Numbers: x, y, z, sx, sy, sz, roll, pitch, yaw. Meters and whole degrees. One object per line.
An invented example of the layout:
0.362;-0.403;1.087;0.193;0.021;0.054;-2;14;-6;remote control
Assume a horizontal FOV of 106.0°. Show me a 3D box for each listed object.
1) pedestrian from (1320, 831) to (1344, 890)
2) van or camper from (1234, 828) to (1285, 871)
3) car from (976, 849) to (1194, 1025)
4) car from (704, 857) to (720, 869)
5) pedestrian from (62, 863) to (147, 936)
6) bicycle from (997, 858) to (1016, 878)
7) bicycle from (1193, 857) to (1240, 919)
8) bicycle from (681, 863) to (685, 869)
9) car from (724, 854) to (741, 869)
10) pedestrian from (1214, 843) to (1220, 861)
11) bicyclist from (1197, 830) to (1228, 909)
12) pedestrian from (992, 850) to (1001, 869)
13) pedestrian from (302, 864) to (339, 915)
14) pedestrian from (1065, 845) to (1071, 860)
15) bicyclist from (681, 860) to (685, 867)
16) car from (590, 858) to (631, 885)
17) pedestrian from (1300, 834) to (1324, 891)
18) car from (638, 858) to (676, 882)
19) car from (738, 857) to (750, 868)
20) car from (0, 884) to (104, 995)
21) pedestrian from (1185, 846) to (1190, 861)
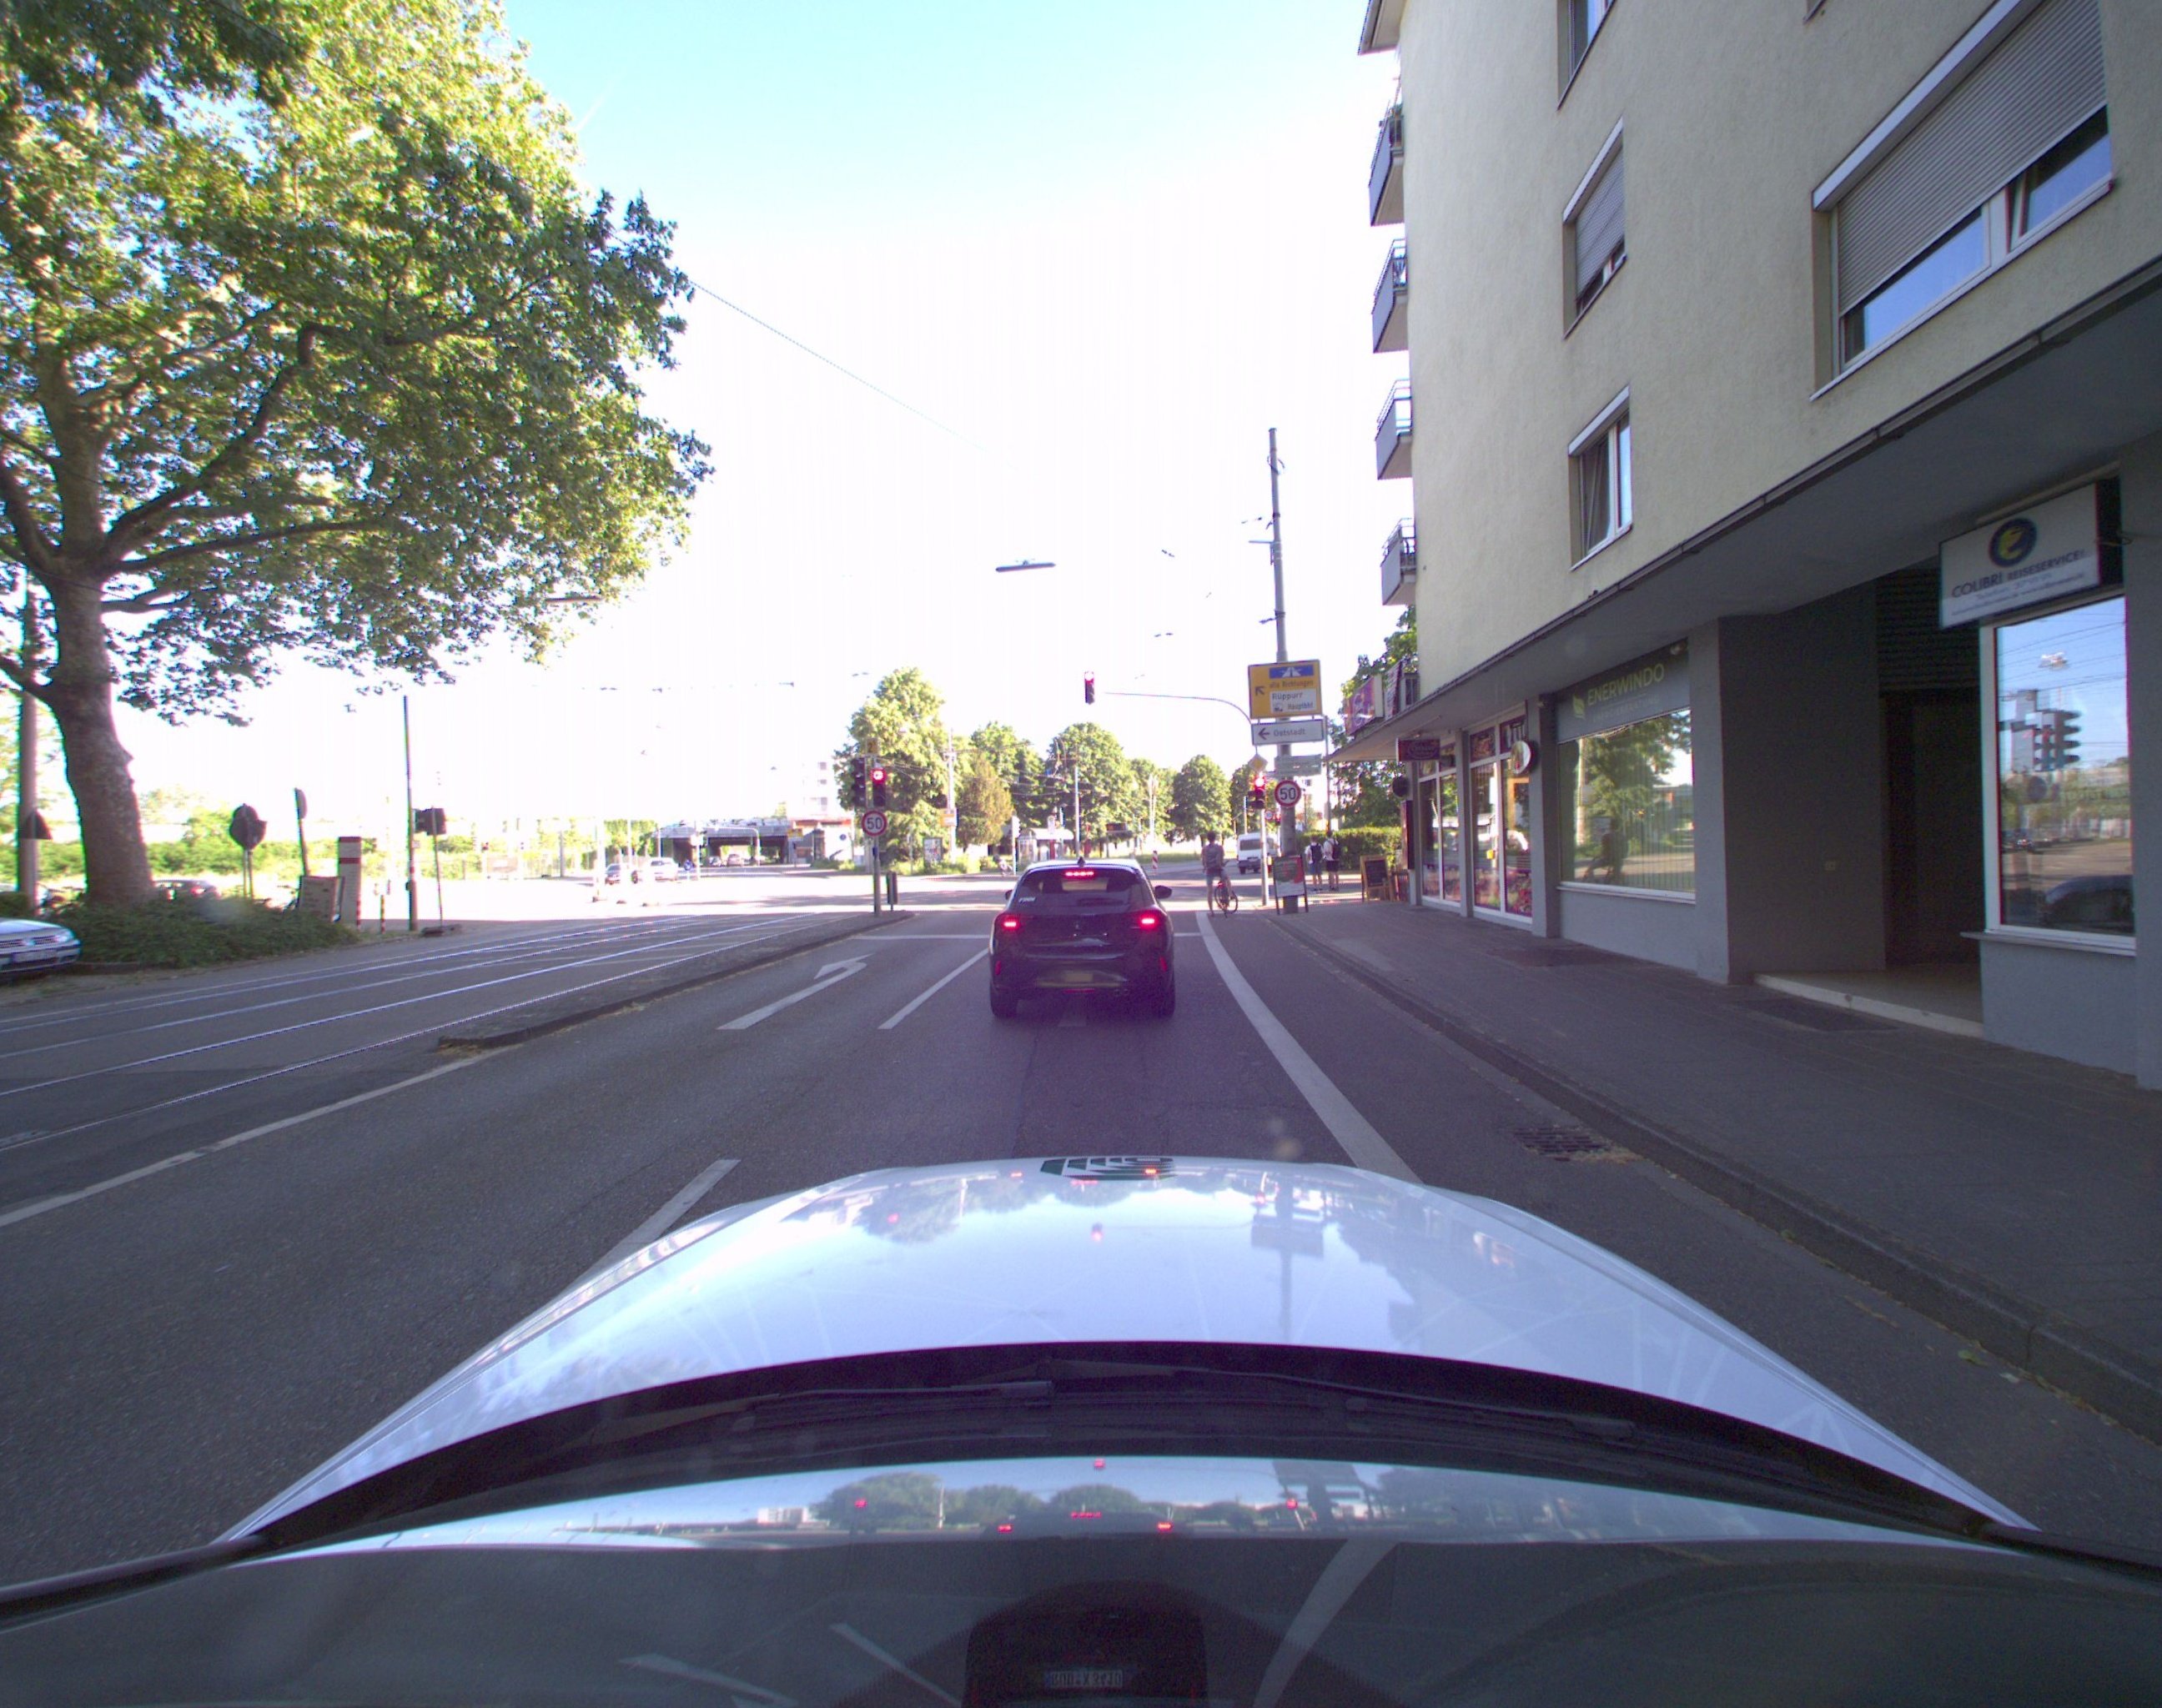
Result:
7.831;0.196;25.367;0.627;1.820;0.749;-1;-1;22;pedestrian
10.184;-0.225;46.188;2.011;2.310;4.565;-1;-1;23;van or camper
0.095;0.702;8.931;1.833;1.462;3.985;-1;0;2;car
-50.806;1.184;112.196;1.892;1.585;3.809;0;-1;-21;car
-22.956;1.049;19.167;0.842;1.647;0.931;0;-1;1;pedestrian
-4.259;0.763;46.473;0.793;1.064;2.186;-2;0;2;bicycle
3.014;0.715;17.909;0.747;1.235;2.024;-2;0;16;bicycle
-70.297;2.120;143.829;0.528;0.982;1.563;-1;0;-26;bicycle
-45.944;0.931;107.295;1.916;1.881;4.809;-2;0;-22;car
14.398;-0.203;86.184;0.599;1.872;0.521;-1;-1;12;pedestrian
2.892;0.334;17.830;0.529;1.692;0.571;-2;0;19;bicyclist
-6.522;0.440;62.843;0.568;1.472;0.666;-2;0;1;pedestrian
-25.421;1.154;27.238;0.778;1.661;0.944;0;-1;-37;pedestrian
-1.673;-0.213;106.876;0.736;1.872;0.661;0;-1;-4;pedestrian
-70.325;1.735;143.854;0.528;1.222;0.525;-1;0;-26;bicyclist
-31.571;1.162;54.773;1.805;1.662;4.323;-2;0;-23;car
7.237;0.273;25.506;0.627;1.763;0.585;-1;-1;22;pedestrian
-29.199;1.070;56.164;1.892;1.585;3.809;0;-1;-21;car
-54.296;1.405;131.196;1.761;1.684;3.713;0;-1;-22;car
-16.626;1.197;11.343;3.957;1.453;1.670;-1;0;-1;car
13.085;-0.083;99.786;0.600;1.872;0.521;-1;-1;9;pedestrian
